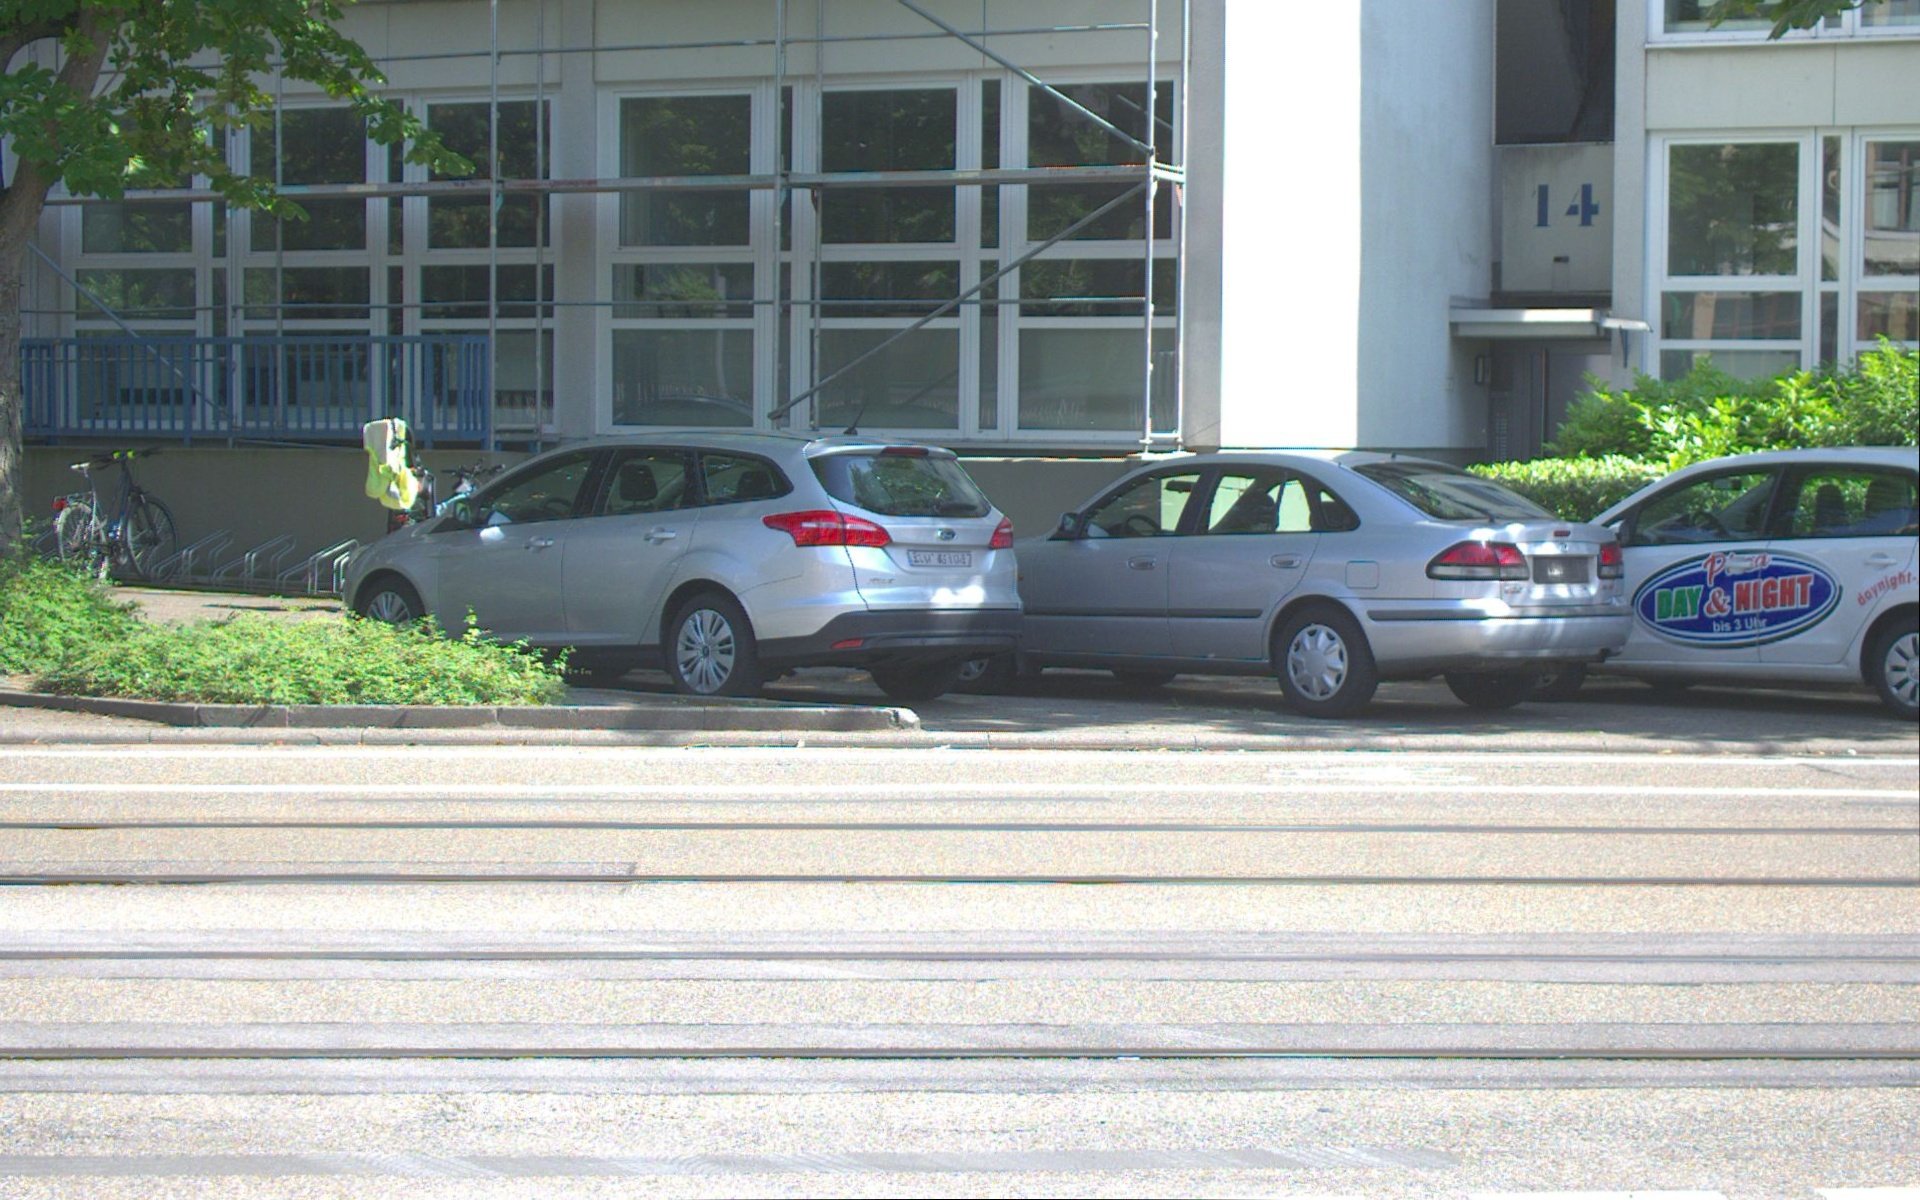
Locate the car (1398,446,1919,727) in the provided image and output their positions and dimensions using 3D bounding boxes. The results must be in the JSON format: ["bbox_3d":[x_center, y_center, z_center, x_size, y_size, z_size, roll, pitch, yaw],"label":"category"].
[{"bbox_3d":[4.590,-0.130,19.655,3.942,1.481,1.609,2,3,43],"label":"car"}]

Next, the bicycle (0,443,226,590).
[{"bbox_3d":[-6.546,-0.672,26.673,0.741,1.082,2.202,1,3,15],"label":"bicycle"}]

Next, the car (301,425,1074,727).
[{"bbox_3d":[-1.633,-0.222,19.417,4.432,1.481,1.780,3,4,42],"label":"car"}]

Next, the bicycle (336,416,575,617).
[{"bbox_3d":[-3.773,-0.651,25.875,0.662,1.448,2.087,2,3,28],"label":"bicycle"}]

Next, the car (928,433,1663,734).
[{"bbox_3d":[1.796,-0.171,19.315,3.943,1.481,1.609,3,4,44],"label":"car"}]
